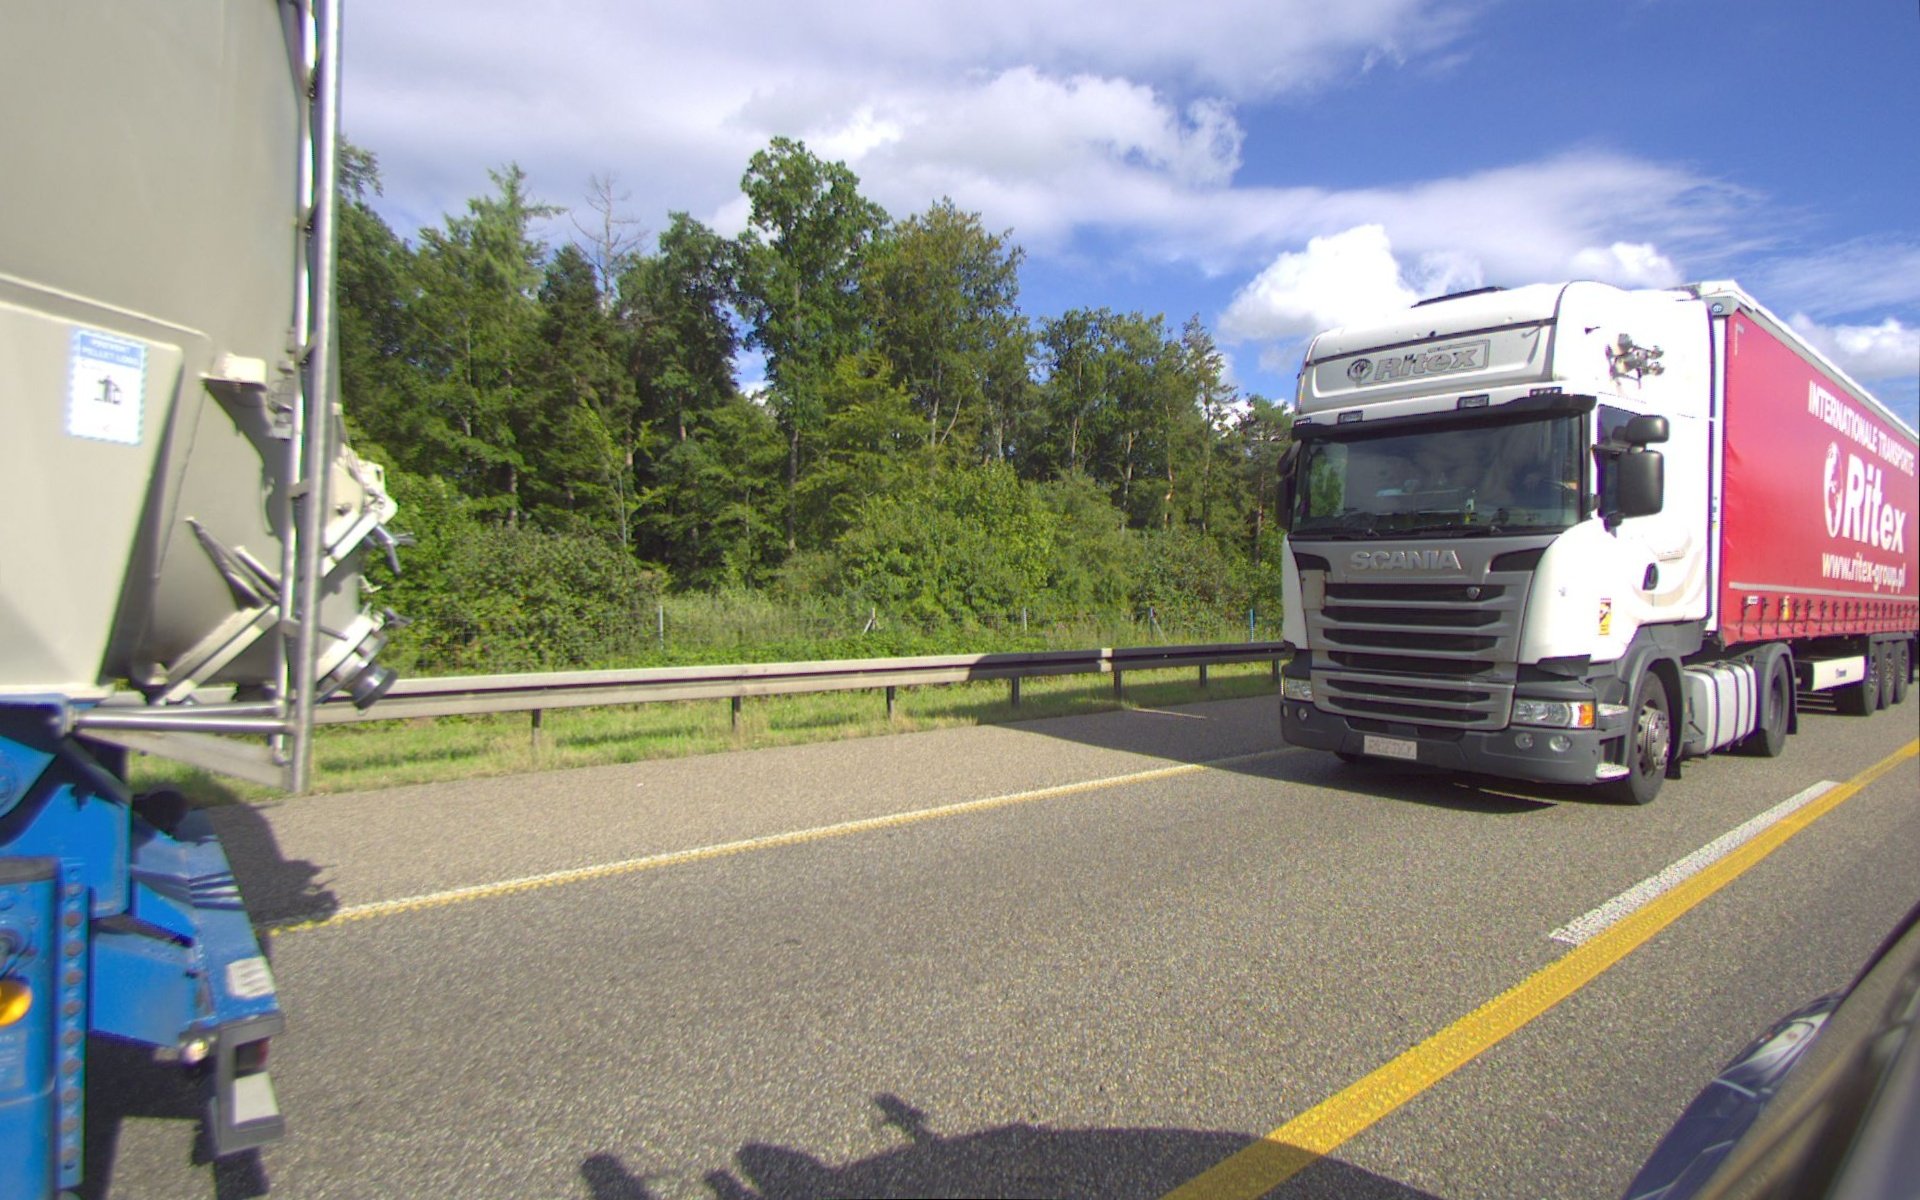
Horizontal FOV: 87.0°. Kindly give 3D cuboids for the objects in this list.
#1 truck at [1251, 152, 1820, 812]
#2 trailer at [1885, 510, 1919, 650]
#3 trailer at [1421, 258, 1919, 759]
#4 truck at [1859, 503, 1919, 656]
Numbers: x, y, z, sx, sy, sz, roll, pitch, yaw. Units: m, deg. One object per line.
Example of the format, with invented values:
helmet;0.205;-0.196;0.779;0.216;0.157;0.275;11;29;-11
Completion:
truck;5.339;-0.729;8.997;5.610;4.010;2.673;0;0;-41
trailer;31.280;-0.553;31.004;11.914;3.822;2.477;0;0;-38
trailer;10.544;-0.747;13.404;13.178;4.019;2.705;0;0;-40
truck;26.240;-0.528;26.966;5.684;3.828;2.501;0;0;-38
